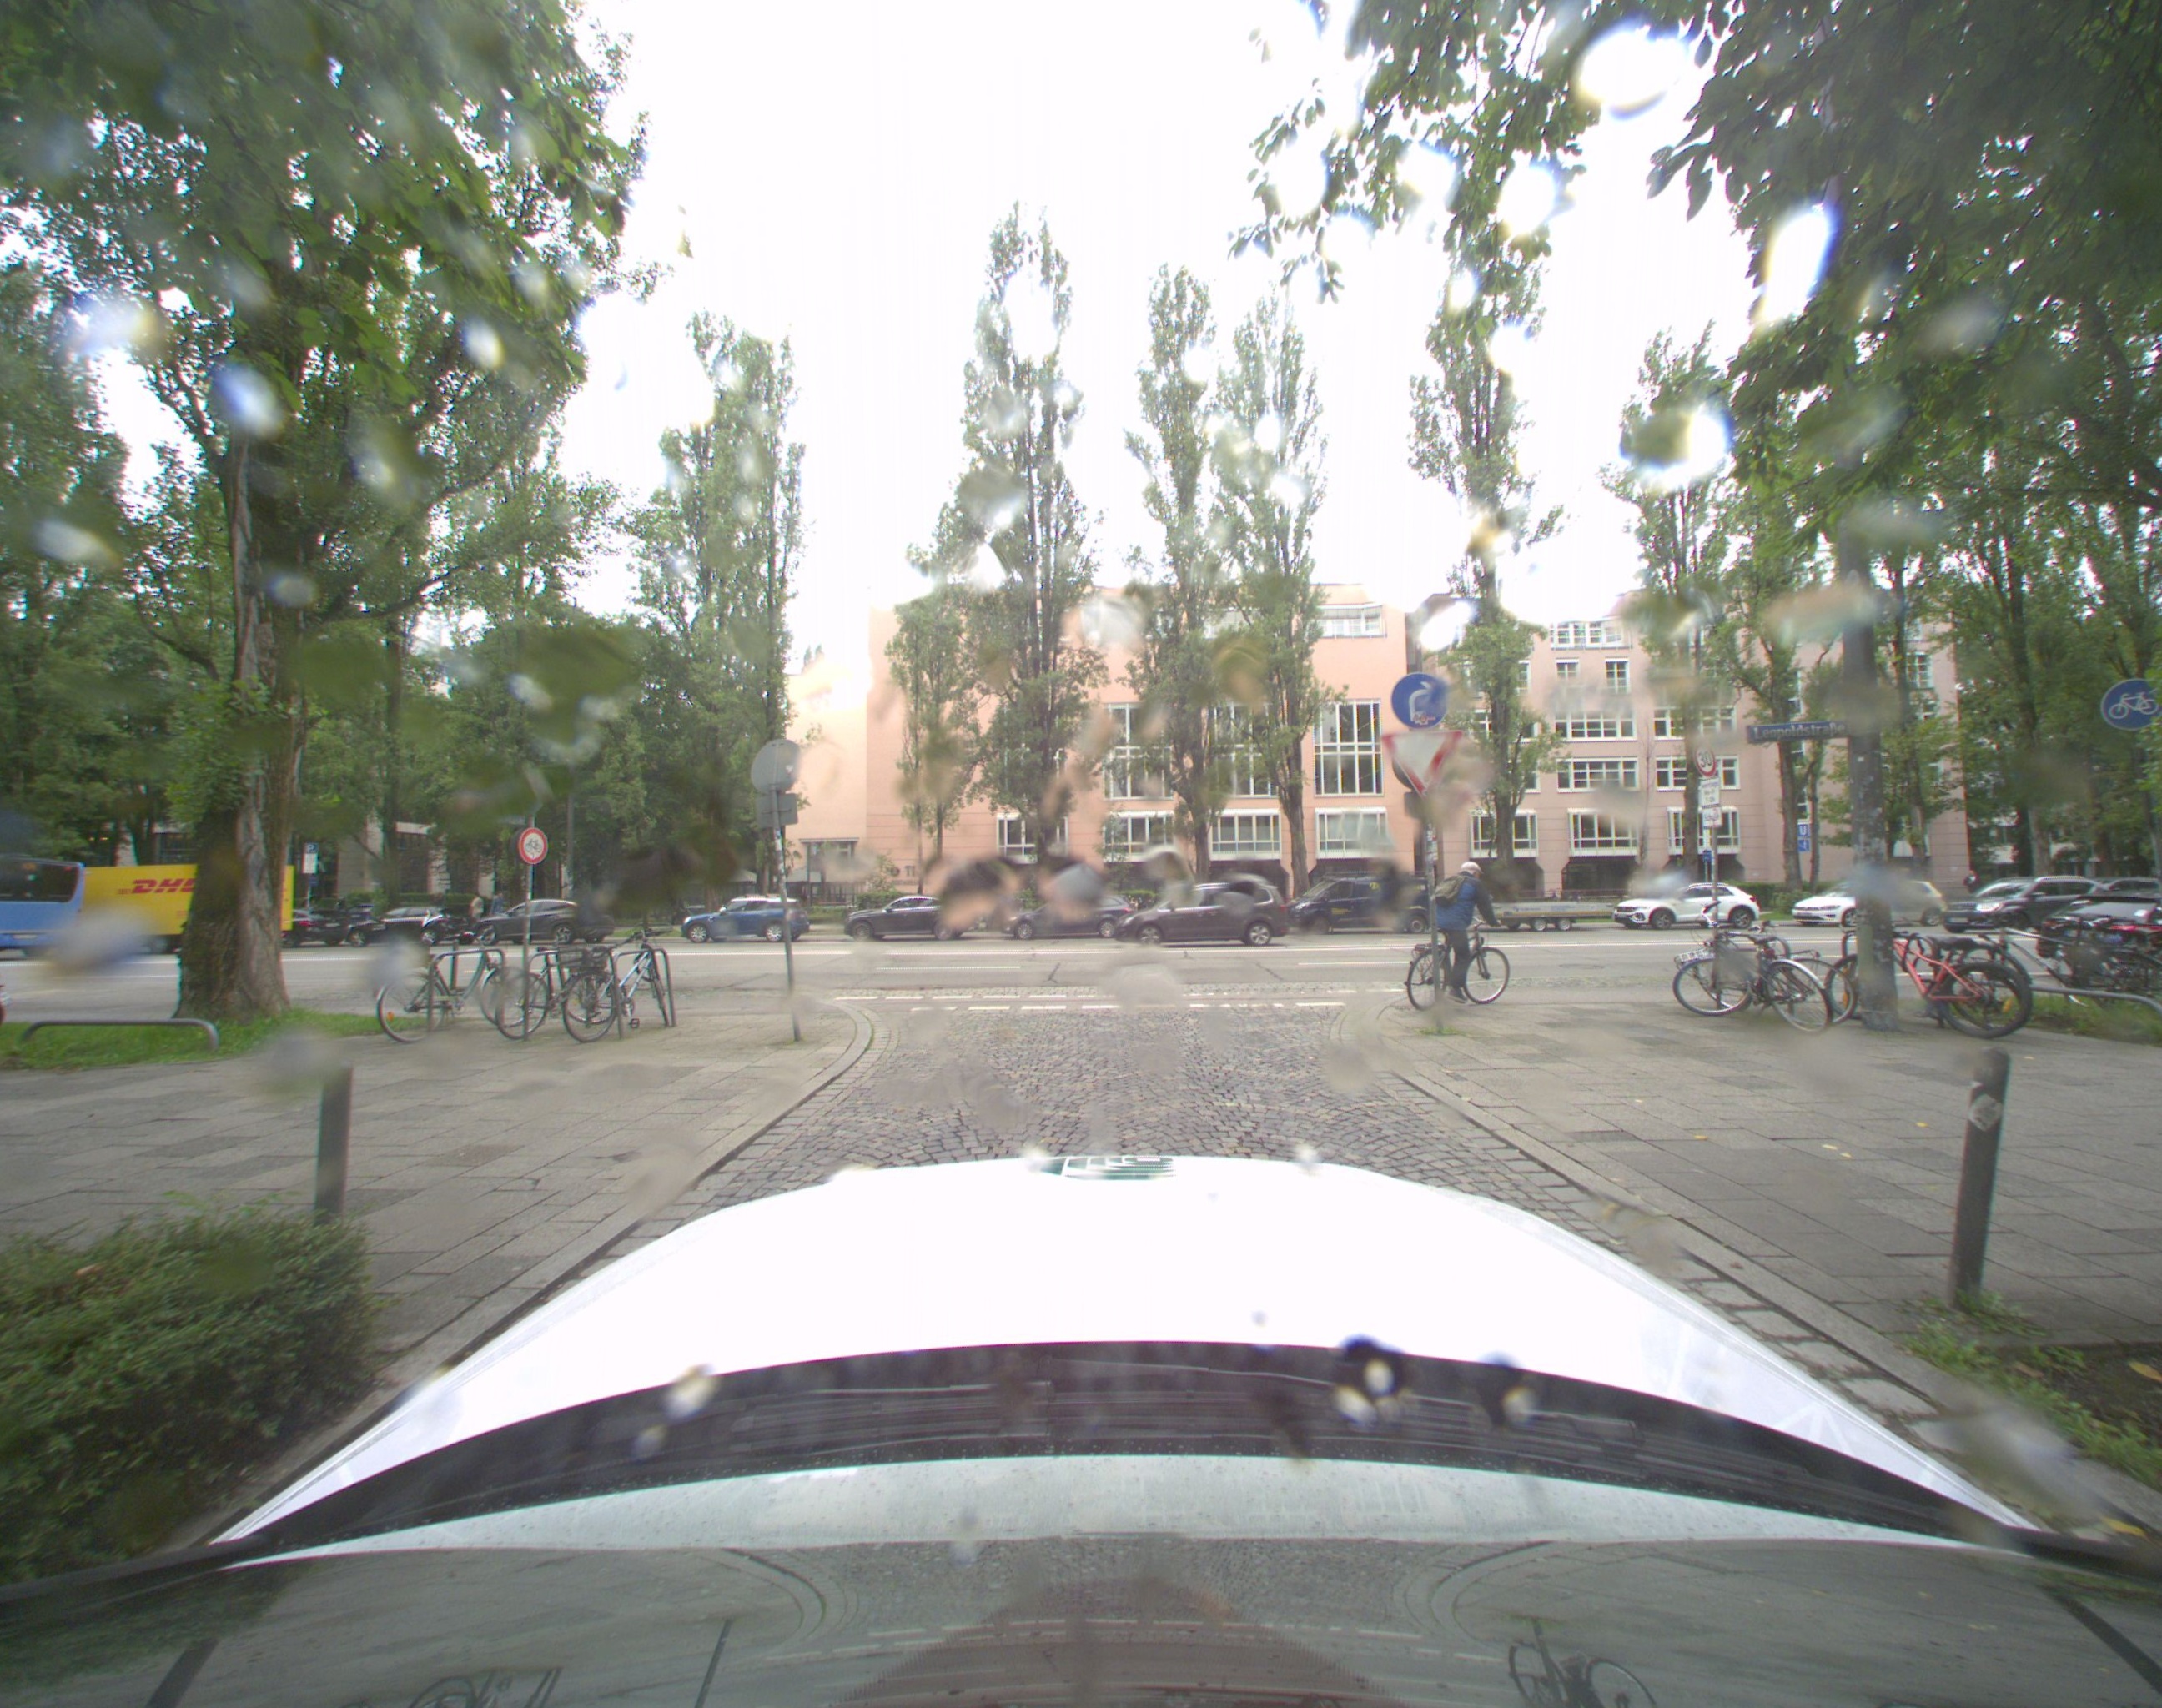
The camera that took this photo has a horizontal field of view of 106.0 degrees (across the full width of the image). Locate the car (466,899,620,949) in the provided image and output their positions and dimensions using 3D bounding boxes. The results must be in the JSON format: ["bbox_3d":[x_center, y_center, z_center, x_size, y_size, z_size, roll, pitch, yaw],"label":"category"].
[{"bbox_3d":[-18.917,2.446,28.749,4.207,1.601,1.794,-1,-3,1],"label":"car"}]

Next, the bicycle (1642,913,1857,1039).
[{"bbox_3d":[6.552,1.143,8.135,0.473,1.051,1.873,-1,-3,-3],"label":"bicycle"}]

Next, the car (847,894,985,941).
[{"bbox_3d":[-5.775,2.232,28.861,4.483,1.529,1.794,-1,-3,1],"label":"car"}]

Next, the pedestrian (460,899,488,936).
[{"bbox_3d":[-28.403,2.960,38.102,0.726,1.714,0.709,-1,-3,2],"label":"pedestrian"}]

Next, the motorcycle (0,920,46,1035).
[{"bbox_3d":[-12.270,1.329,8.319,2.002,1.196,0.622,1,-3,-42],"label":"motorcycle"}]

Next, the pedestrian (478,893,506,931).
[{"bbox_3d":[-26.818,2.647,37.103,0.726,1.714,0.709,-1,-3,2],"label":"pedestrian"}]

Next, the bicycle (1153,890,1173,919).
[{"bbox_3d":[3.299,2.007,32.793,0.671,1.124,1.742,-1,-2,2],"label":"bicycle"}]

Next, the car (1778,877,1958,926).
[{"bbox_3d":[27.023,1.628,28.082,4.299,1.542,1.998,-1,-3,-2],"label":"car"}]

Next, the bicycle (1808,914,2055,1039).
[{"bbox_3d":[8.203,1.130,7.998,0.472,1.051,1.877,-1,-4,3],"label":"bicycle"}]

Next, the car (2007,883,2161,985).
[{"bbox_3d":[17.743,1.188,12.662,4.412,1.427,1.759,-1,-1,5],"label":"car"}]

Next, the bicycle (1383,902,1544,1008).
[{"bbox_3d":[4.559,1.182,9.689,1.905,1.148,0.712,3,-6,-28],"label":"bicycle"}]

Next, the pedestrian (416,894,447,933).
[{"bbox_3d":[-29.092,2.656,36.490,0.726,1.714,0.709,-1,-3,2],"label":"pedestrian"}]

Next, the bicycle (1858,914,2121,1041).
[{"bbox_3d":[8.685,1.128,7.930,0.472,1.051,1.877,-1,-4,3],"label":"bicycle"}]

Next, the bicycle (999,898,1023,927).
[{"bbox_3d":[-2.843,2.369,33.200,0.671,1.124,1.990,-1,-2,3],"label":"bicycle"}]

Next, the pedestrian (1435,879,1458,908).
[{"bbox_3d":[17.229,1.863,38.394,0.726,1.369,0.709,-1,-3,2],"label":"pedestrian"}]

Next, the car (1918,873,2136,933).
[{"bbox_3d":[26.091,1.358,22.573,3.725,1.527,1.849,-1,-3,2],"label":"car"}]

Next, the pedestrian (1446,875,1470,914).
[{"bbox_3d":[16.924,1.829,36.606,0.726,1.714,0.709,-1,-3,2],"label":"pedestrian"}]

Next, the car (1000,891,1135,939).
[{"bbox_3d":[-0.416,2.123,28.710,4.591,1.529,1.794,-1,-3,1],"label":"car"}]

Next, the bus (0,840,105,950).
[{"bbox_3d":[-34.180,1.275,23.745,8.448,3.052,2.931,-2,-2,5],"label":"bus"}]

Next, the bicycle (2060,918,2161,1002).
[{"bbox_3d":[11.217,1.091,8.269,0.468,0.818,1.836,-1,-3,7],"label":"bicycle"}]

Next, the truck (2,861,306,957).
[{"bbox_3d":[-30.178,1.782,26.708,7.029,2.908,2.602,-1,-3,2],"label":"truck"}]

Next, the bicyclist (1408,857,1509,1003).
[{"bbox_3d":[4.417,0.862,9.558,0.758,1.619,0.718,0,-3,-27],"label":"bicyclist"}]

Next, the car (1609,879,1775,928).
[{"bbox_3d":[20.803,1.698,27.880,4.202,1.542,1.807,-2,-4,3],"label":"car"}]

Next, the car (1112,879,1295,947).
[{"bbox_3d":[3.285,1.628,22.614,4.781,1.722,2.000,-1,-4,2],"label":"car"}]

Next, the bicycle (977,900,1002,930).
[{"bbox_3d":[-3.701,2.452,33.077,0.671,1.124,1.990,-1,-2,3],"label":"bicycle"}]

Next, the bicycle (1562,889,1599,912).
[{"bbox_3d":[25.423,2.357,41.482,0.671,1.124,1.990,-1,-2,3],"label":"bicycle"}]

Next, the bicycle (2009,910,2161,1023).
[{"bbox_3d":[10.503,1.098,8.119,0.509,1.038,1.836,-1,-3,7],"label":"bicycle"}]

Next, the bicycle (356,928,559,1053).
[{"bbox_3d":[-6.668,1.410,8.874,0.487,1.093,1.987,-1,-3,7],"label":"bicycle"}]

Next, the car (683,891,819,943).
[{"bbox_3d":[-11.612,2.225,28.871,4.052,1.732,1.793,-1,-4,0],"label":"car"}]

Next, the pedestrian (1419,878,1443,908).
[{"bbox_3d":[16.435,1.836,38.240,0.711,1.369,0.725,1,-3,-27],"label":"pedestrian"}]

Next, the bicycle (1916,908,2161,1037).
[{"bbox_3d":[9.604,1.106,8.142,0.510,1.105,1.931,-1,-3,2],"label":"bicycle"}]

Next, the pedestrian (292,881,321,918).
[{"bbox_3d":[-37.264,2.193,39.199,0.726,1.714,0.709,-2,-3,2],"label":"pedestrian"}]

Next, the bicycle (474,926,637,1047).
[{"bbox_3d":[-5.603,1.369,8.813,0.487,1.093,1.706,-1,-3,7],"label":"bicycle"}]

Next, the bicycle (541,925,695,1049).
[{"bbox_3d":[-4.831,1.347,8.637,0.487,1.093,1.706,-1,-3,7],"label":"bicycle"}]

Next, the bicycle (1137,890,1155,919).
[{"bbox_3d":[2.607,2.015,32.839,0.671,1.124,1.742,-1,-2,2],"label":"bicycle"}]

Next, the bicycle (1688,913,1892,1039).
[{"bbox_3d":[7.068,1.163,8.258,0.472,1.051,1.878,-1,-2,3],"label":"bicycle"}]

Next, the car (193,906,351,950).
[{"bbox_3d":[-29.007,2.631,29.286,3.854,1.412,1.794,-1,-2,1],"label":"car"}]

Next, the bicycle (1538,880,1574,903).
[{"bbox_3d":[24.293,1.927,41.702,0.671,1.124,2.108,-1,-2,3],"label":"bicycle"}]

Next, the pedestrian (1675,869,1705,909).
[{"bbox_3d":[26.795,1.531,35.853,0.726,1.714,0.709,-1,-3,2],"label":"pedestrian"}]

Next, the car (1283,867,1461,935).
[{"bbox_3d":[10.053,1.630,28.468,5.458,2.197,2.024,-1,-3,1],"label":"car"}]

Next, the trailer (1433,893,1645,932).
[{"bbox_3d":[15.786,2.006,28.391,5.994,1.200,2.406,-1,-2,2],"label":"trailer"}]

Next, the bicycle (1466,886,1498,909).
[{"bbox_3d":[20.627,2.230,41.912,0.671,1.124,1.990,-1,-2,3],"label":"bicycle"}]

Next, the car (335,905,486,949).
[{"bbox_3d":[-23.798,2.573,29.018,3.854,1.412,1.794,-1,-2,1],"label":"car"}]
